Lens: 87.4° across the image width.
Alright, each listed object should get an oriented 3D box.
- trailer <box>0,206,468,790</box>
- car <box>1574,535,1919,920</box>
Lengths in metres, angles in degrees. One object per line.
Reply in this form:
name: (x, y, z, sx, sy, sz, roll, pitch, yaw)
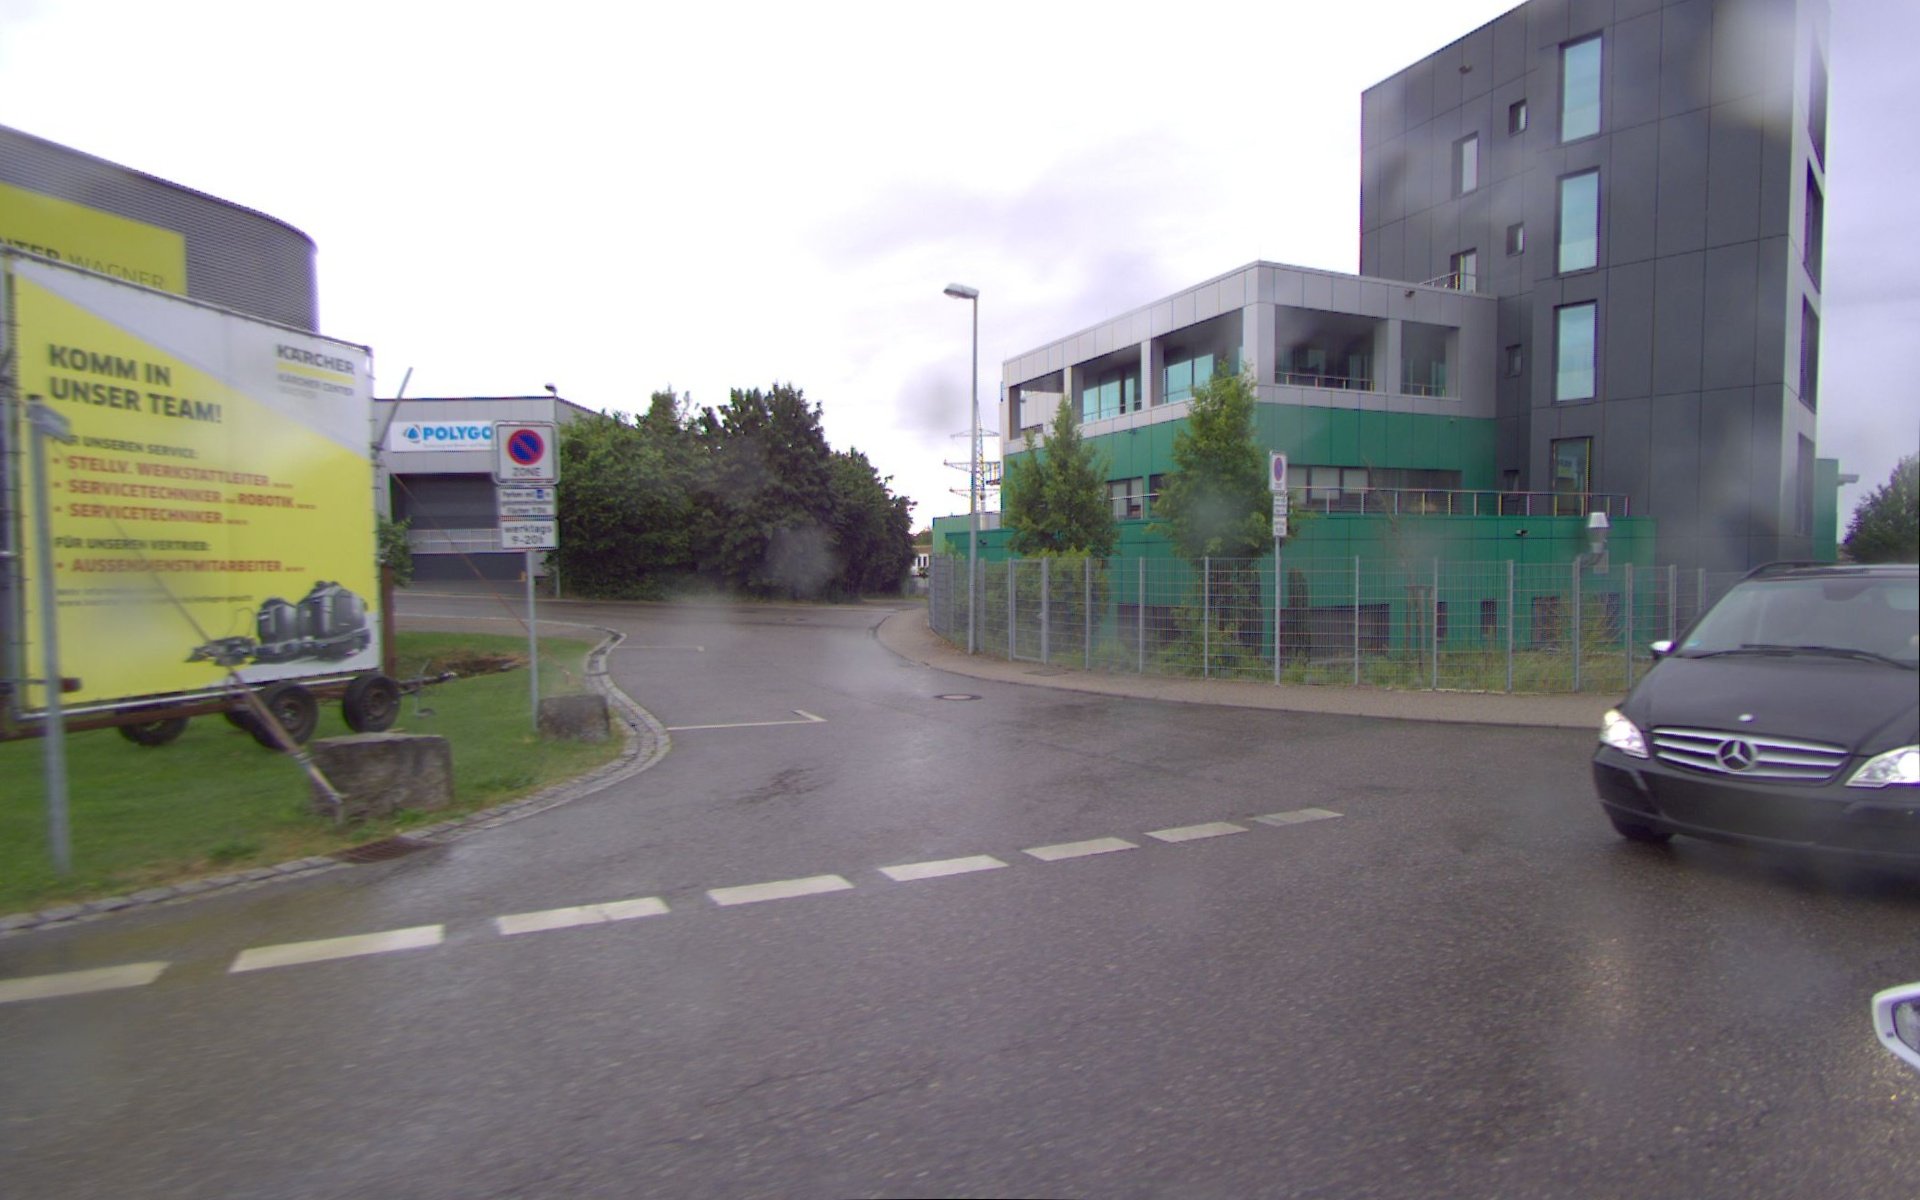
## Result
trailer: (-7.062, -0.750, 9.581, 1.965, 4.259, 4.189, 2, 0, 13)
car: (6.564, 0.678, 6.904, 5.012, 1.911, 1.876, 1, -1, -30)
